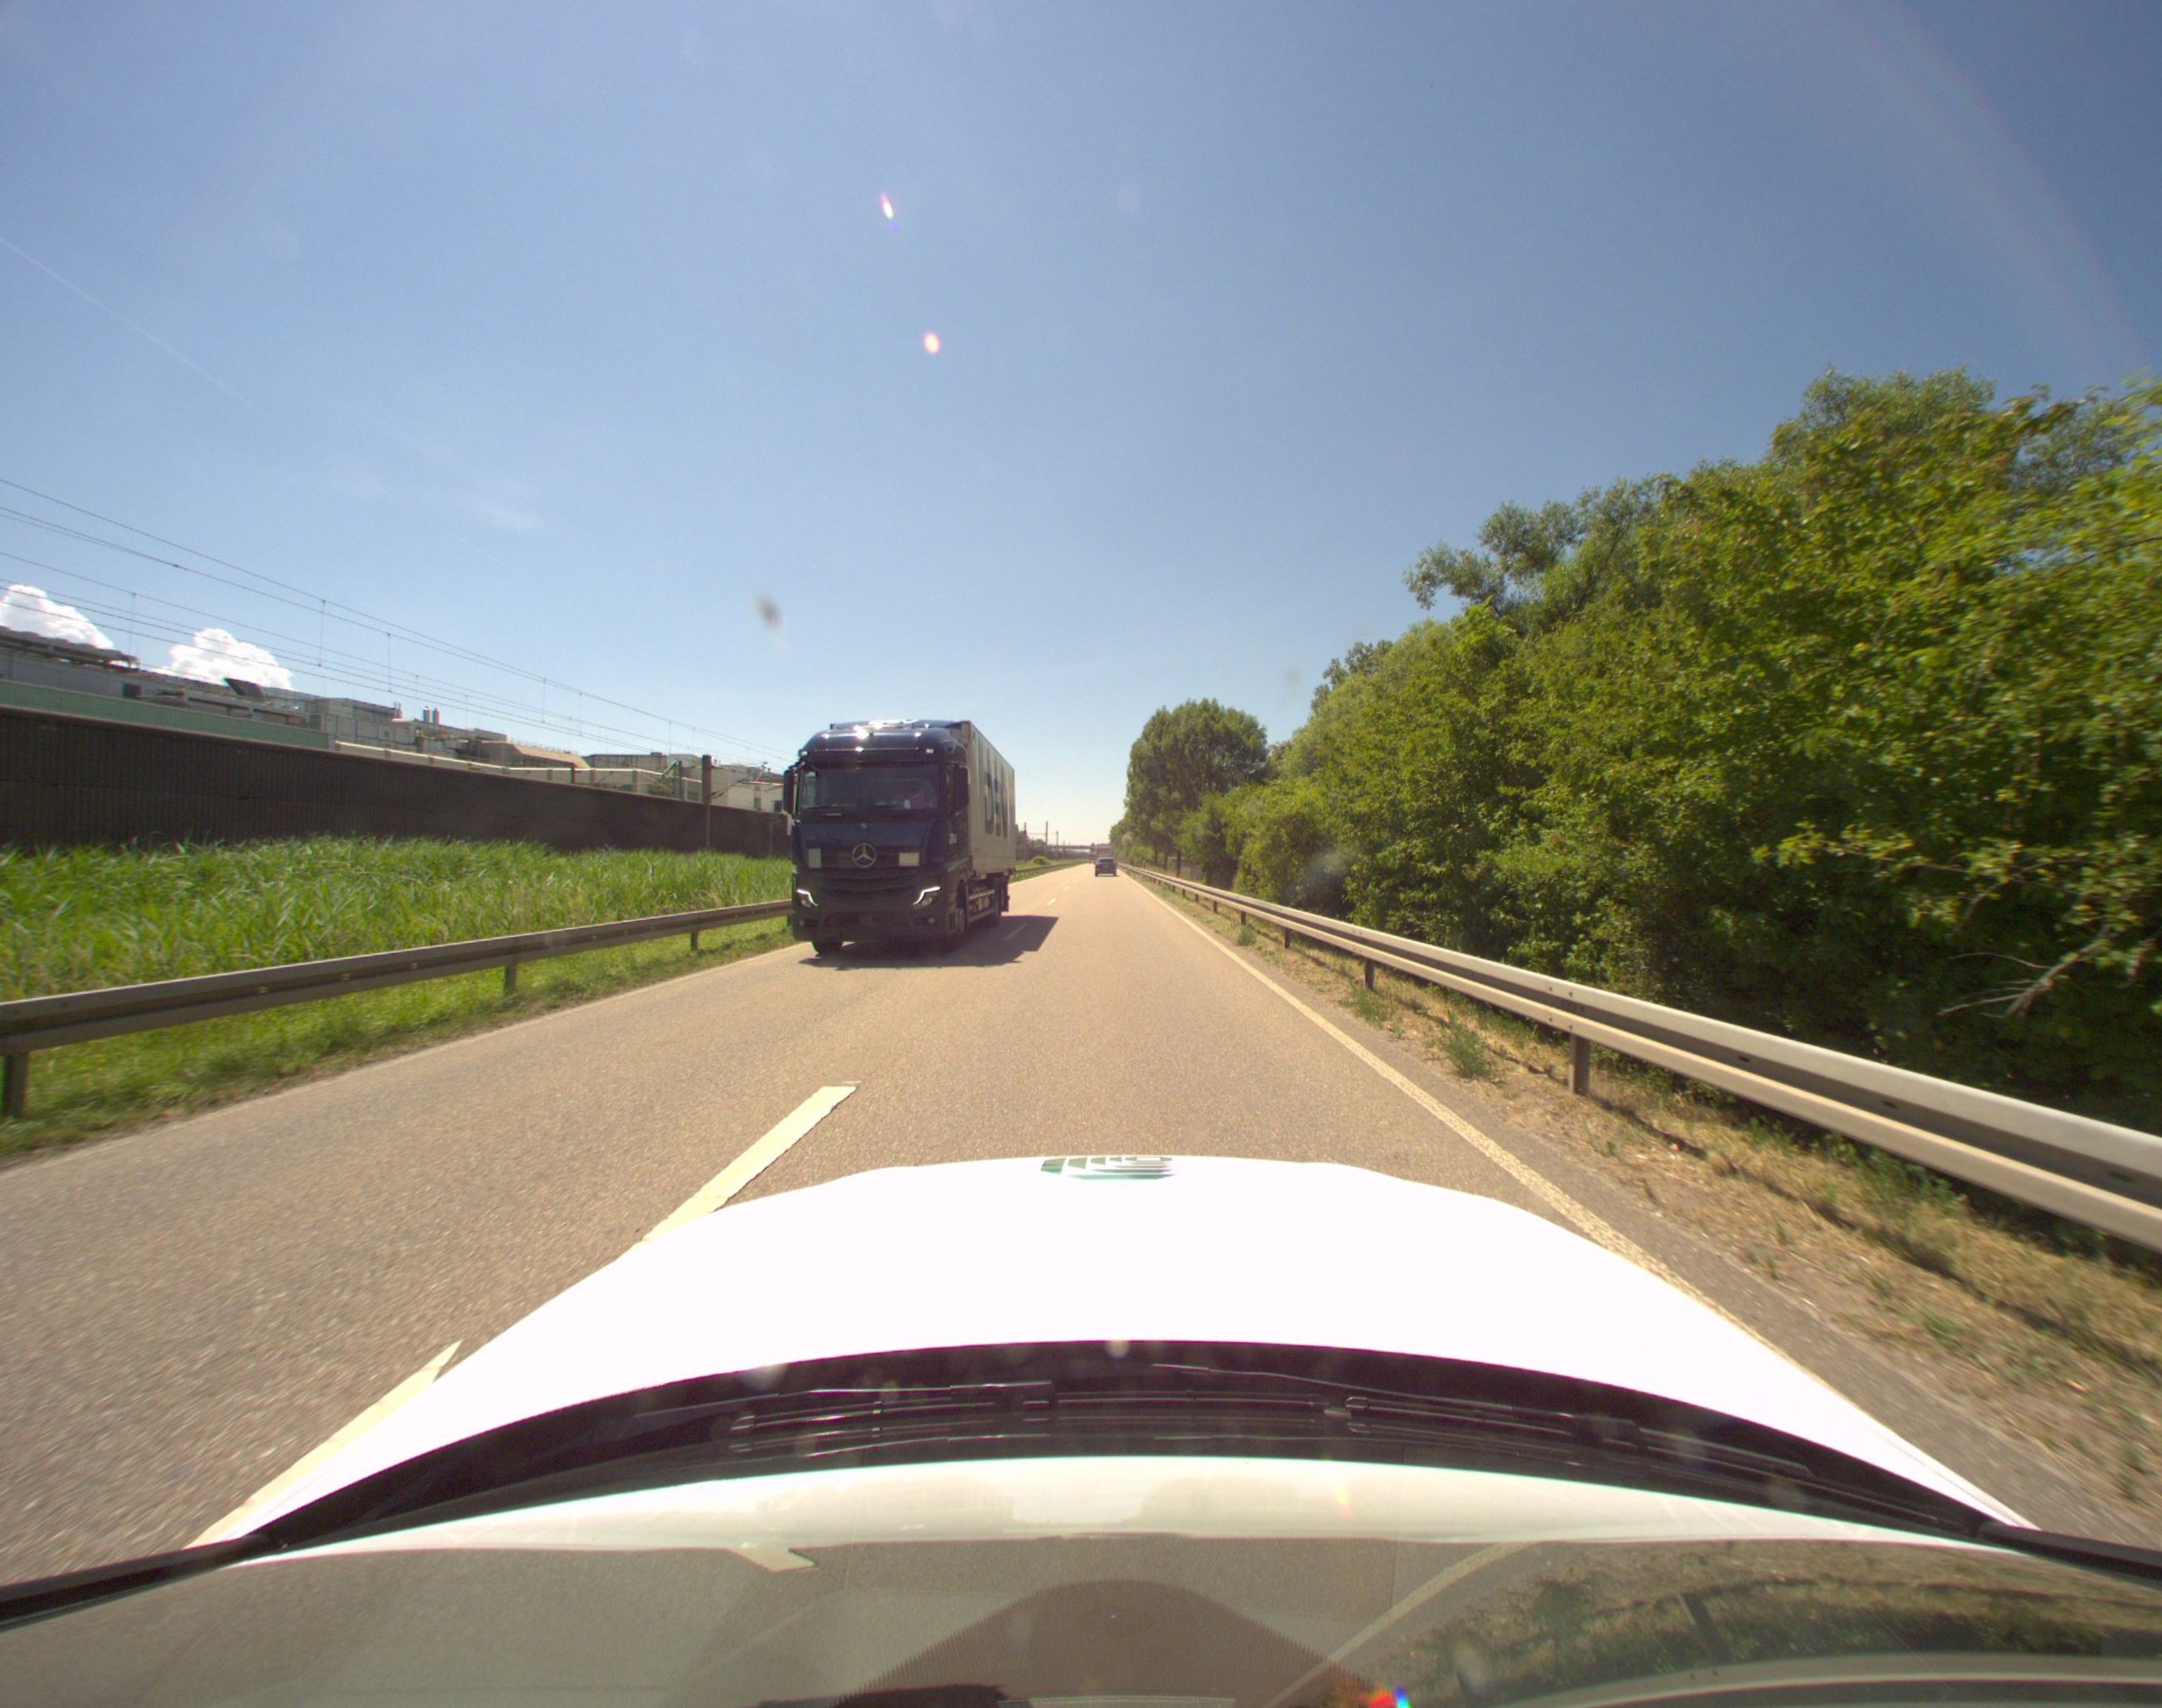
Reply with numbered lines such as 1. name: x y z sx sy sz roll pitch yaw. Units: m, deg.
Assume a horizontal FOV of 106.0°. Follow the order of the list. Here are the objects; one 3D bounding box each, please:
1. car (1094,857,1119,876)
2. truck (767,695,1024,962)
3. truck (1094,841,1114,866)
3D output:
1. car: 2.100 1.008 68.283 1.987 1.508 3.999 -1 0 -1
2. truck: -3.184 -0.370 17.586 2.787 3.978 10.503 -1 0 2
3. truck: 3.392 -0.058 119.843 2.760 3.425 10.822 0 0 2
